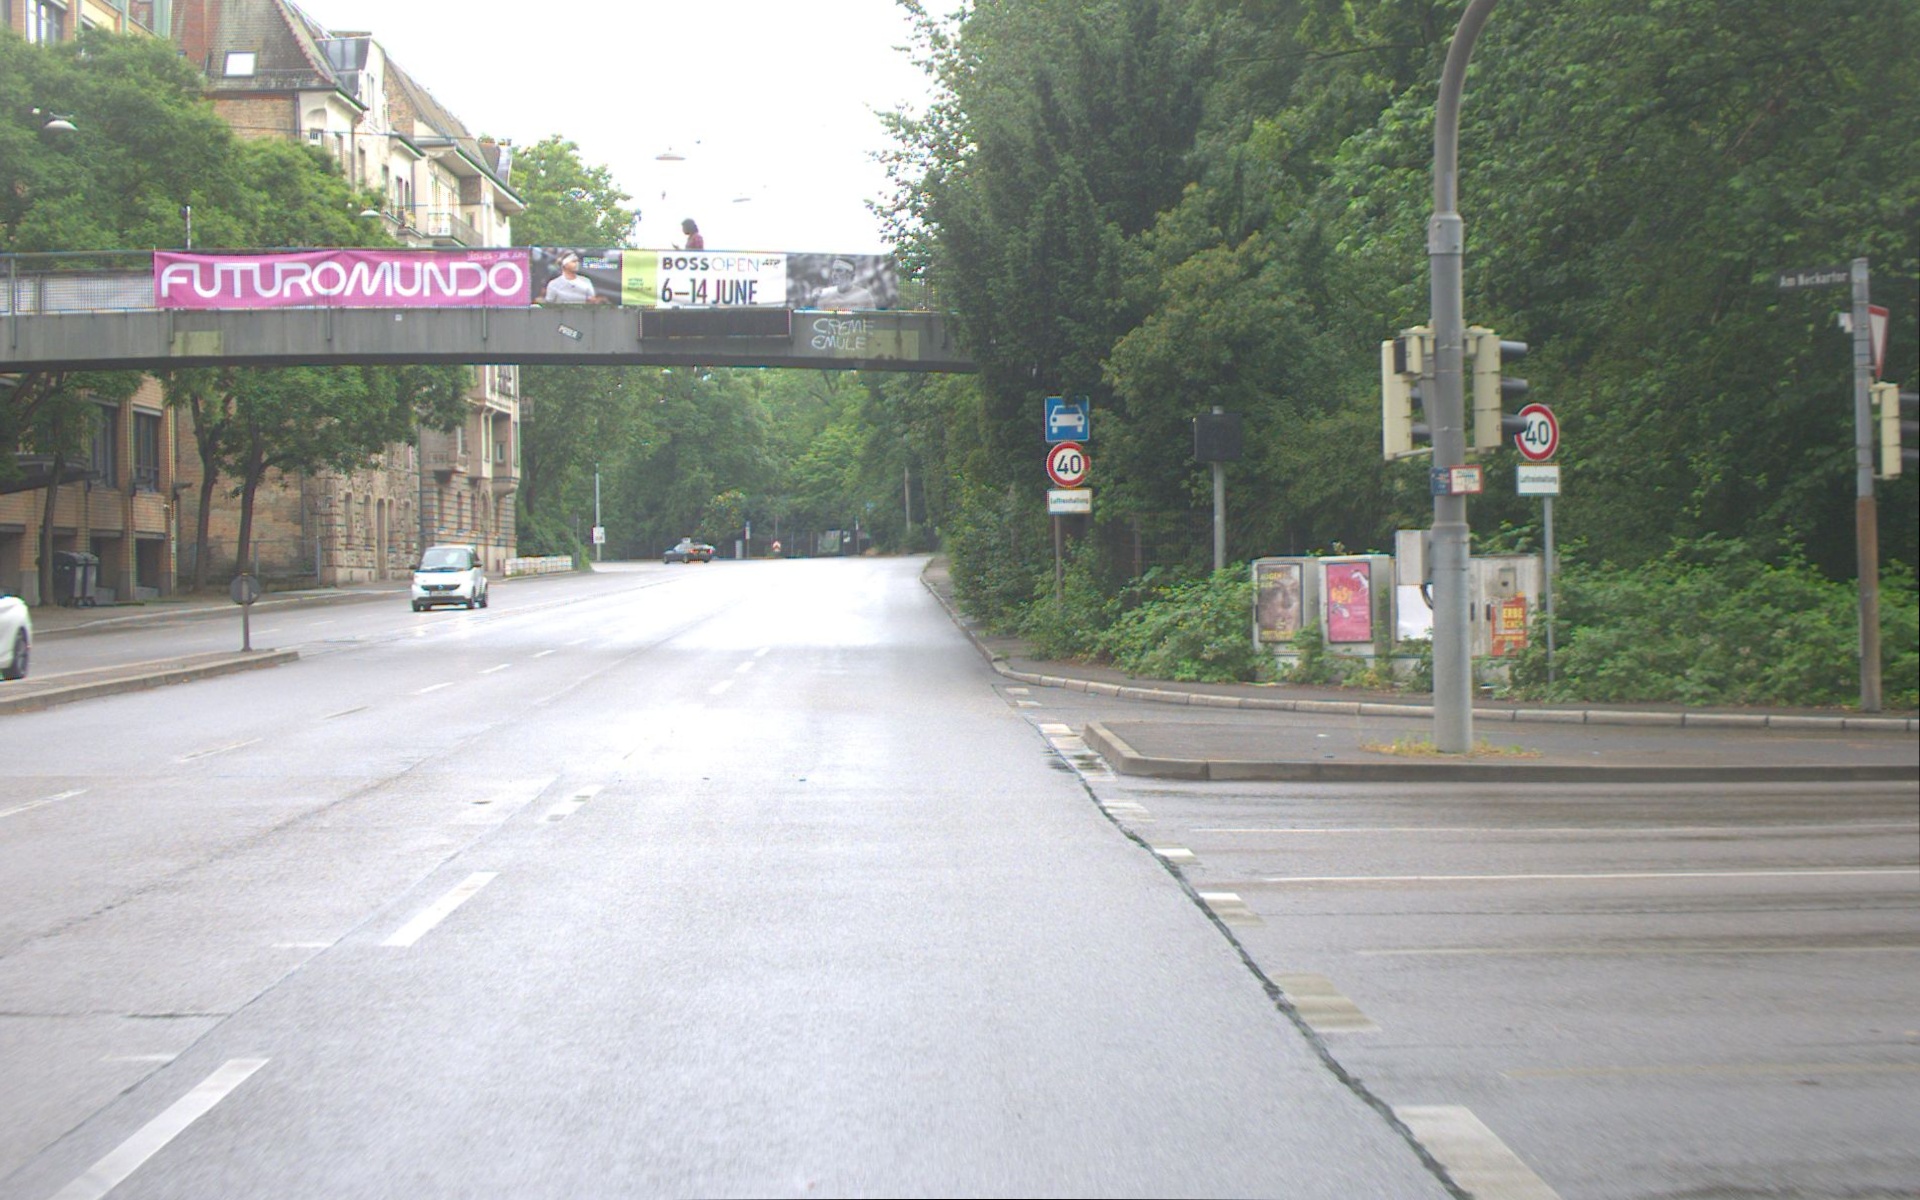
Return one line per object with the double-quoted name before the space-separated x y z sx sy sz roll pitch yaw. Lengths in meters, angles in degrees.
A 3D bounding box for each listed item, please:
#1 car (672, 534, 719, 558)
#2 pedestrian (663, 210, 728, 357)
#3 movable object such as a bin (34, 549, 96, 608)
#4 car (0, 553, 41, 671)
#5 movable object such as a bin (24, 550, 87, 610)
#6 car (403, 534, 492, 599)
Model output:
"car" -18.244 -3.706 236.920 2.004 1.638 4.377 -1 1 -22
"pedestrian" -4.438 -5.295 57.617 0.954 2.337 1.007 2 0 -7
"movable object such as a bin" -23.340 -0.561 89.679 1.299 1.513 1.214 0 1 -1
"car" -12.181 0.170 39.990 1.830 1.389 4.405 -1 1 -1
"movable object such as a bin" -23.162 -0.514 88.029 1.282 1.513 1.273 0 1 -1
"car" -12.411 -0.809 83.409 1.600 1.494 3.712 -2 1 -1
